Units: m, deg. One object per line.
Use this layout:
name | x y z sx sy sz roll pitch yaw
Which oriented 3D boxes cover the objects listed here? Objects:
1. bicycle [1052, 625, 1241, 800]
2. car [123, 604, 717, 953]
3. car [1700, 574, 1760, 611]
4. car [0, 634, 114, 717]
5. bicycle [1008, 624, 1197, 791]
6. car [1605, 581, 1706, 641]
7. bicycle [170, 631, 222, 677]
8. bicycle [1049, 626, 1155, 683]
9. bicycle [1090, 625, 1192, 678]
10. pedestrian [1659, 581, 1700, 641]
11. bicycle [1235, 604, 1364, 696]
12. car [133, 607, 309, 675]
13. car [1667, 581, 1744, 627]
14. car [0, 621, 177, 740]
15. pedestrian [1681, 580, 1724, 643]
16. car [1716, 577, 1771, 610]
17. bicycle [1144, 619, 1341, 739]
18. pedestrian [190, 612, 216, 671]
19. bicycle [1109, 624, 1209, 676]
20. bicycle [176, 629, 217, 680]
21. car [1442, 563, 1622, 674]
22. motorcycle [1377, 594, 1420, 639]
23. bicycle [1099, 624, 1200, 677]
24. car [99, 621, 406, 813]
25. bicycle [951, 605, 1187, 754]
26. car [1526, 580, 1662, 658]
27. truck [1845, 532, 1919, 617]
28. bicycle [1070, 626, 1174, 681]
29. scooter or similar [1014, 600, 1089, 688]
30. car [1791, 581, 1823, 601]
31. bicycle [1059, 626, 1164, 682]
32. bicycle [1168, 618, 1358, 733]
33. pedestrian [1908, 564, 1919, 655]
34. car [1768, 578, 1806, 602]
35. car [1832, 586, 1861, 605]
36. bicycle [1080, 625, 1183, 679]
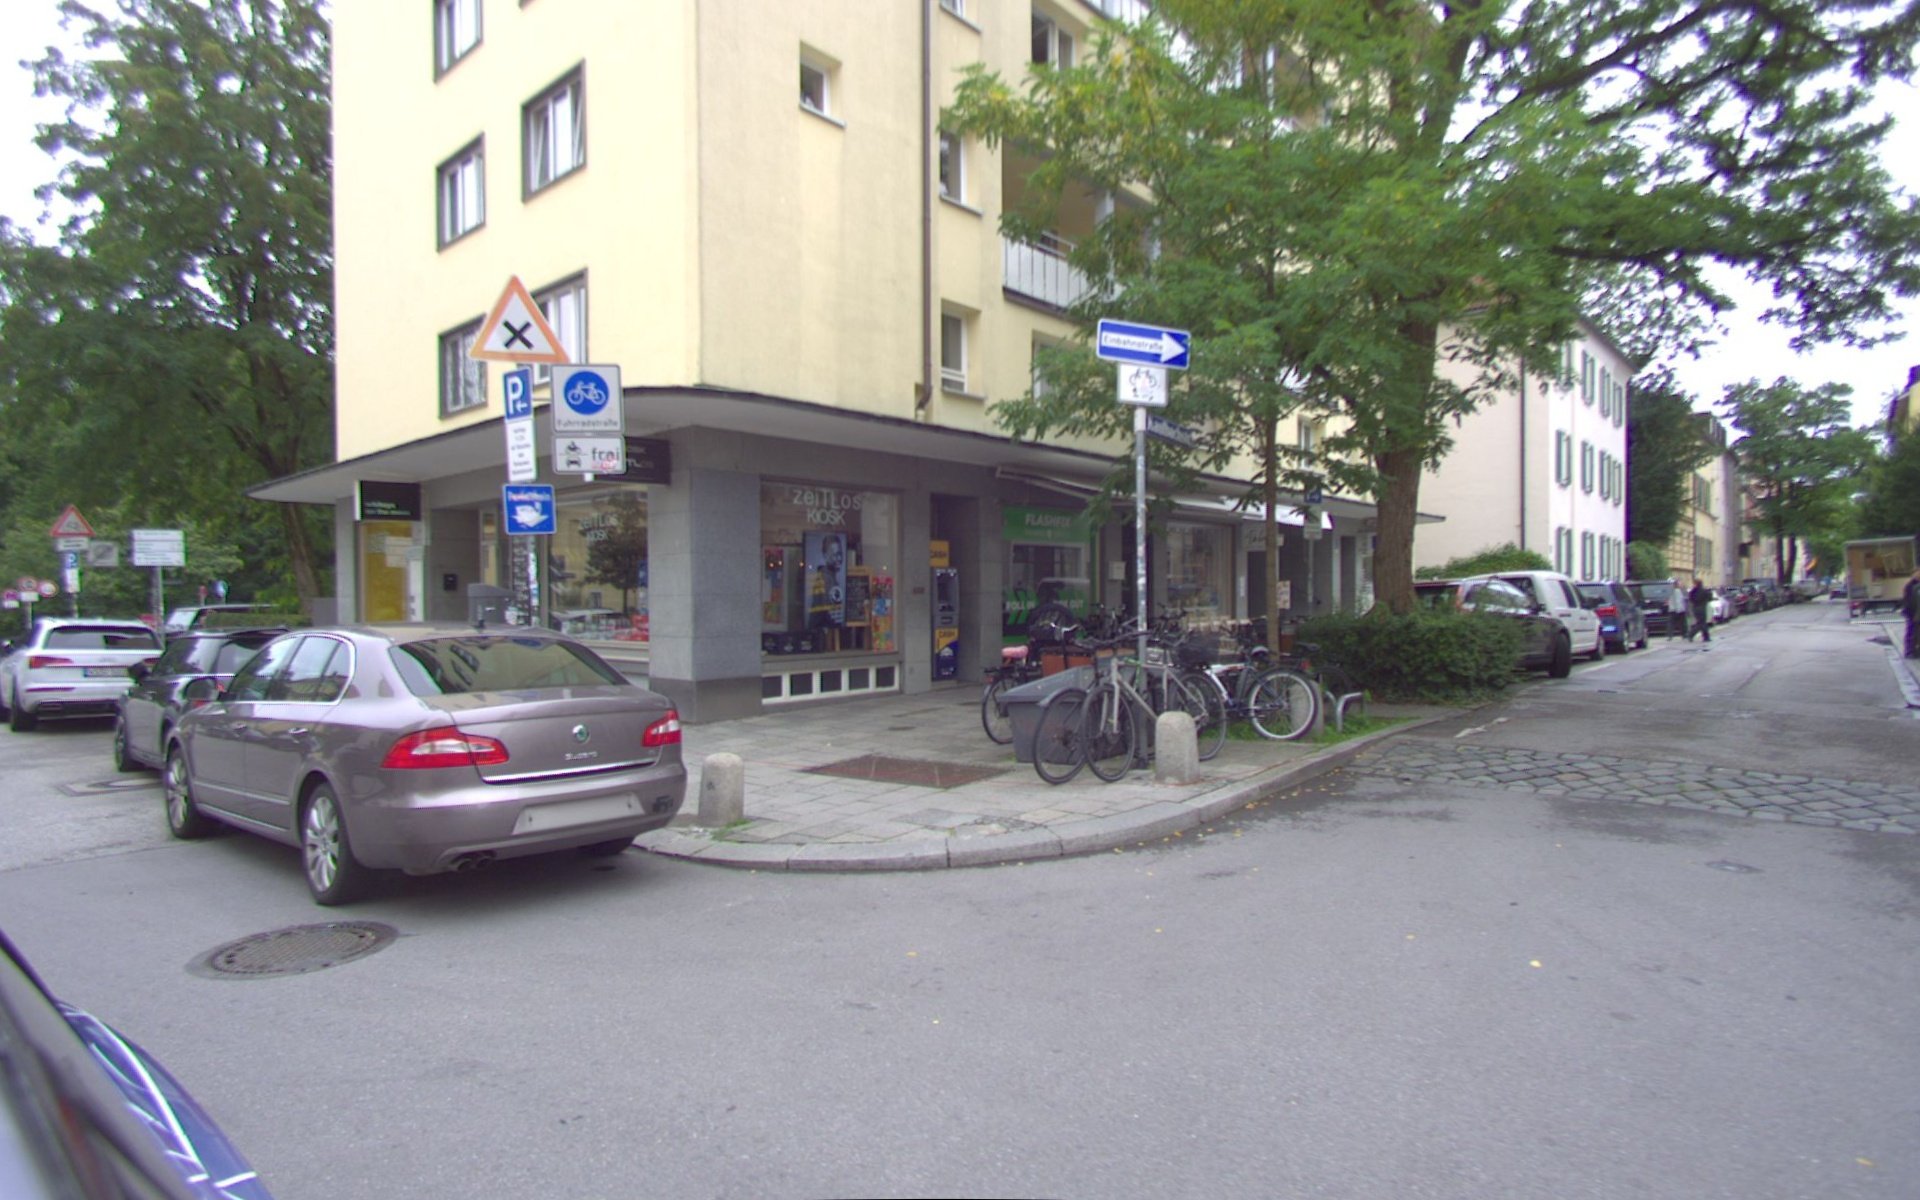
bicycle | 1.423 0.765 7.469 0.392 1.042 1.797 -3 1 45
car | -3.766 0.817 6.549 4.946 1.482 1.662 -1 -2 40
car | 37.643 -0.361 49.454 1.775 1.608 4.108 -5 -3 44
car | -17.699 1.384 19.400 4.097 1.421 1.727 -2 -2 42
bicycle | 1.138 0.762 7.755 0.392 1.042 1.797 -3 1 45
car | 21.083 0.309 30.630 1.775 1.608 4.108 -5 -3 44
bicycle | -20.724 1.440 27.481 0.573 1.134 2.305 -2 1 -24
bicycle | 2.142 0.821 15.476 1.721 0.786 0.289 0 0 40
bicycle | 2.906 0.815 16.399 1.721 0.786 0.289 0 0 40
pedestrian | 19.148 0.287 26.934 0.671 1.594 0.575 0 0 -4
bicycle | 4.945 0.691 14.643 0.818 1.221 2.339 0 -1 45
car | -24.408 1.281 33.605 1.927 2.016 4.379 0 0 27
car | 28.769 0.147 39.010 1.775 1.608 4.108 -5 -3 44
car | -13.729 1.175 15.697 4.337 1.596 1.783 -3 -3 42
pedestrian | 19.237 0.294 26.234 0.671 1.609 0.575 0 0 -4
car | 41.975 -0.362 54.184 1.775 1.608 4.108 -5 -3 44
bicycle | 2.543 0.682 9.242 1.714 0.973 0.376 0 2 39
pedestrian | -23.902 1.317 31.947 0.551 1.812 0.642 -1 -2 -30
bicycle | 3.292 0.812 16.848 1.721 0.786 0.289 0 0 40
bicycle | -19.362 1.364 25.648 0.555 1.219 1.855 -2 1 -45
car | 11.165 0.344 19.619 1.907 1.859 4.398 -5 -3 44
motorcycle | 11.747 0.422 27.068 0.462 1.092 1.820 0 2 43
bicycle | 3.095 0.814 16.622 1.721 0.786 0.289 0 0 40
car | -7.024 0.960 9.878 4.097 1.482 1.660 -2 -2 43
bicycle | 1.196 0.717 10.349 0.818 1.220 2.811 0 2 45
car | 14.757 0.414 23.461 1.775 1.608 4.108 -5 -3 44
truck | 38.096 -0.999 41.449 2.581 3.218 6.642 0 1 43
bicycle | 2.523 0.818 15.936 1.721 0.786 0.289 0 0 40
scooter or similar | 1.299 0.614 14.636 0.986 1.210 1.203 0 0 1
car | 74.696 -0.820 89.270 1.775 1.608 4.108 -5 -3 44
bicycle | 2.334 0.820 15.700 1.721 0.786 0.289 0 0 40
bicycle | 2.848 0.677 9.626 1.714 0.973 0.376 0 2 39
pedestrian | 18.594 0.184 19.427 0.530 1.743 0.549 0 0 40
car | 60.287 -0.722 73.751 1.775 1.608 4.108 -5 -3 44
car | 85.346 -0.435 97.431 1.775 1.608 4.108 -5 -3 44
bicycle | 2.714 0.817 16.166 1.721 0.786 0.289 0 0 40
